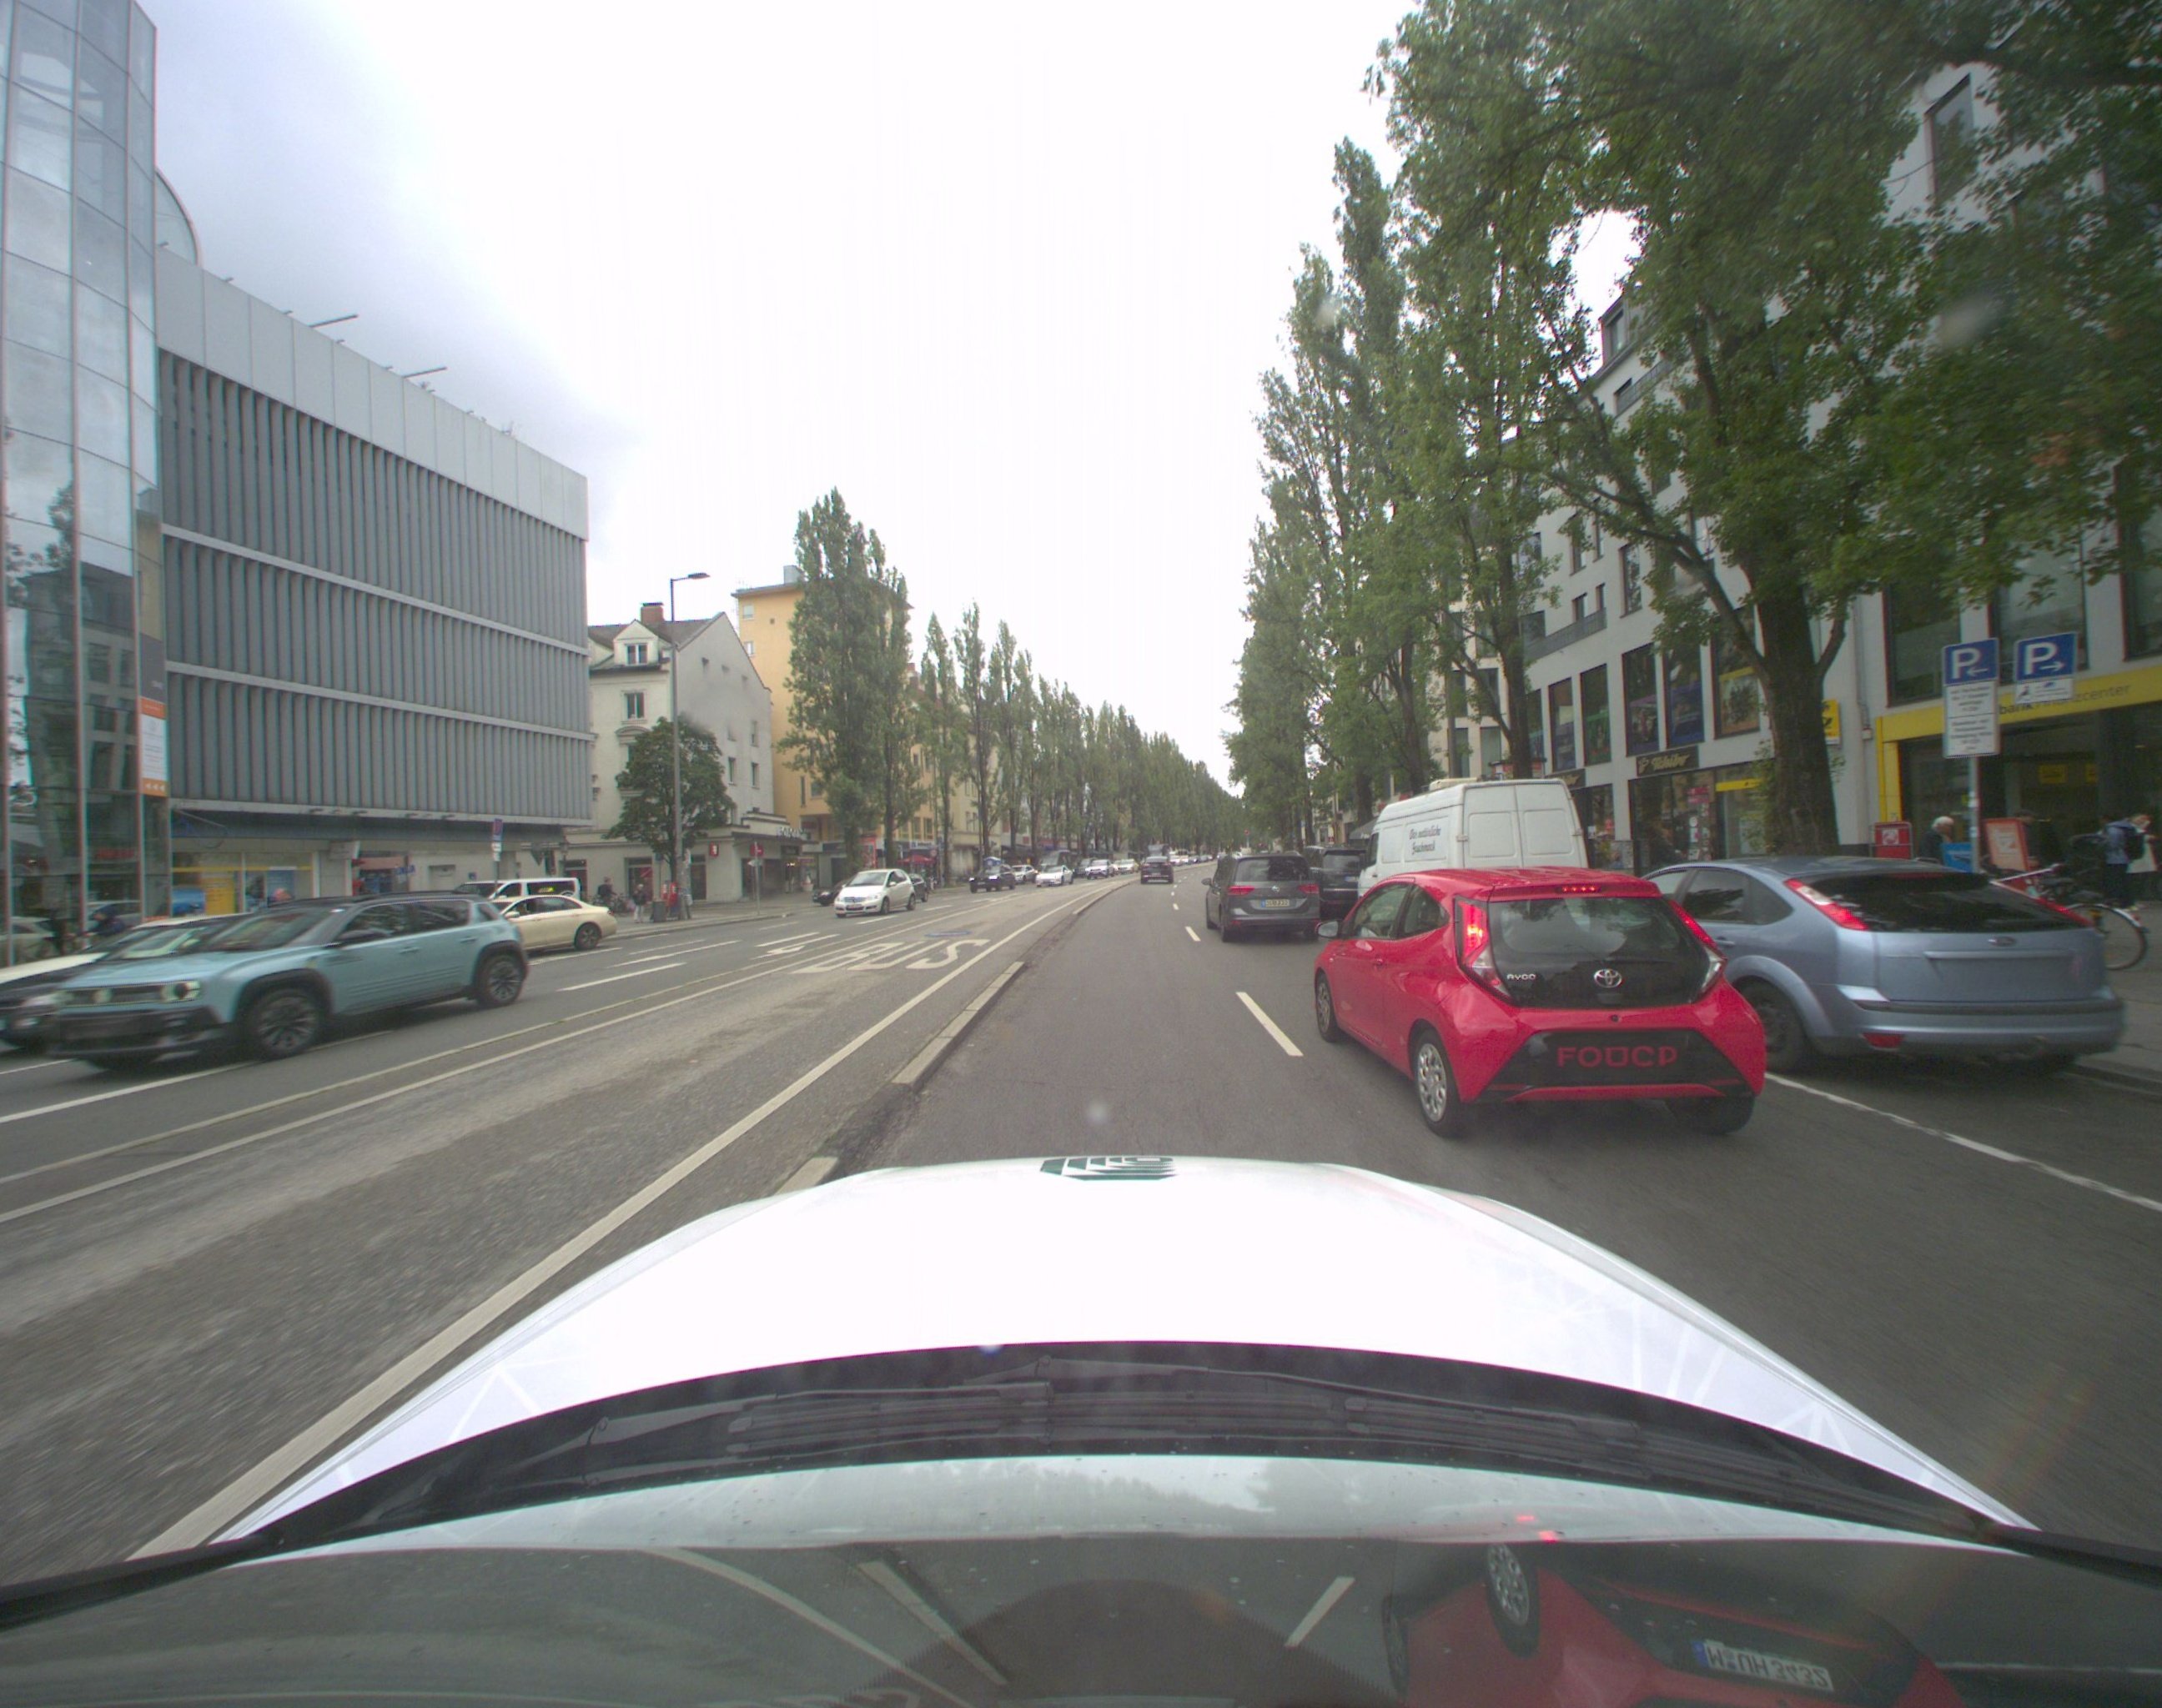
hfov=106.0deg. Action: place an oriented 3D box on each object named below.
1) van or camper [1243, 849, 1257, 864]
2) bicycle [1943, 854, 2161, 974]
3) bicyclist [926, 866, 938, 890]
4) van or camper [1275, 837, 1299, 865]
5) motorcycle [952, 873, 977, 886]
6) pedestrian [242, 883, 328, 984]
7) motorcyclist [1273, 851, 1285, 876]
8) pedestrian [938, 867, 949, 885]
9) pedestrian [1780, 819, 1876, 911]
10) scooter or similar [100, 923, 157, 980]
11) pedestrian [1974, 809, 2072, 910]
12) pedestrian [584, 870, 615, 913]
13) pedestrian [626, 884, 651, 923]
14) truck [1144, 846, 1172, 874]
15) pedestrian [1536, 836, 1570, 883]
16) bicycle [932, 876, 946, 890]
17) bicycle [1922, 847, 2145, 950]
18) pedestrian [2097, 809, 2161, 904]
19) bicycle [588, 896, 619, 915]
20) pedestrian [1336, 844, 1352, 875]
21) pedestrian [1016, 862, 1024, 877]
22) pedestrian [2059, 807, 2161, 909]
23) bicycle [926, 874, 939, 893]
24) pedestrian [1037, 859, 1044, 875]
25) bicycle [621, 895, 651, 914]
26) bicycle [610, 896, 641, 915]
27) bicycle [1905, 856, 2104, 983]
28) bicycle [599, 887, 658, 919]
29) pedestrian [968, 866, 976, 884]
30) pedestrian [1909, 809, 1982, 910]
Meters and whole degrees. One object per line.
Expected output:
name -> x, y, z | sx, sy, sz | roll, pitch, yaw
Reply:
van or camper -> 29.039, 0.397, 139.898 | 2.020, 2.476, 4.015 | -3, -2, 14
bicycle -> 10.415, 0.588, 8.800 | 0.475, 1.160, 1.634 | -2, 0, 2
bicyclist -> -10.130, 1.615, 55.379 | 0.498, 1.592, 0.838 | -3, -1, 14
van or camper -> 23.958, -0.361, 94.607 | 2.442, 3.112, 4.734 | -3, -1, 15
motorcycle -> -9.845, 2.177, 68.987 | 2.053, 1.036, 0.485 | -1, -1, -7
pedestrian -> -15.581, 1.537, 15.965 | 0.785, 1.867, 0.845 | -2, -1, -5
motorcyclist -> 11.275, 0.546, 46.370 | 0.560, 1.406, 0.768 | -3, -1, 10
pedestrian -> -12.493, 1.988, 73.995 | 0.629, 1.561, 0.819 | -3, -1, 15
pedestrian -> 14.051, 0.204, 15.352 | 0.796, 1.637, 1.024 | -3, -1, 2
scooter or similar -> -21.371, 2.165, 18.293 | 0.254, 1.173, 0.993 | -2, -1, -12
pedestrian -> 16.103, 0.086, 13.943 | 0.688, 1.649, 0.798 | -3, -1, 1
pedestrian -> -22.580, 1.752, 38.171 | 0.850, 1.899, 0.837 | -3, -1, 22
pedestrian -> -17.889, 1.986, 32.922 | 0.542, 1.495, 0.656 | -3, -1, 5
truck -> 9.988, 0.701, 104.983 | 2.275, 3.323, 7.184 | -4, -1, 14
pedestrian -> 16.192, 0.178, 27.960 | 0.679, 1.558, 0.751 | -3, -1, 3
bicycle -> -10.713, 2.201, 61.452 | 0.456, 0.964, 1.884 | -3, -1, 7
bicycle -> 11.432, 0.529, 9.836 | 1.616, 1.160, 0.708 | -2, 0, 14
pedestrian -> 17.786, 0.028, 13.558 | 0.758, 1.535, 0.712 | -3, -1, 17
bicycle -> -27.346, 2.957, 46.676 | 0.456, 0.964, 1.884 | -3, -1, 7
pedestrian -> 14.175, 0.308, 43.861 | 0.607, 1.619, 0.796 | -4, -1, 9
pedestrian -> -7.057, 1.754, 94.043 | 0.633, 1.700, 0.650 | -3, -1, 14
pedestrian -> 16.876, 0.062, 13.342 | 0.688, 1.585, 0.773 | -3, -1, 1
bicycle -> -10.107, 1.998, 55.405 | 0.365, 1.201, 1.158 | -3, -1, 15
pedestrian -> -4.994, 1.605, 101.084 | 0.633, 1.862, 0.650 | -3, -1, 14
bicycle -> -25.663, 2.904, 47.016 | 0.456, 0.964, 1.884 | -3, -1, 7
bicycle -> -26.268, 2.943, 47.001 | 0.456, 0.964, 1.884 | -3, -1, 7
bicycle -> 9.553, 0.622, 8.525 | 0.473, 1.160, 1.833 | -2, 0, 18
bicycle -> -21.371, 2.304, 38.538 | 0.839, 1.308, 2.317 | -4, -1, 26
pedestrian -> -10.620, 2.068, 79.239 | 0.535, 1.747, 0.758 | -2, -1, 14
pedestrian -> 15.431, 0.100, 14.553 | 0.712, 1.724, 0.744 | -4, -1, 38
